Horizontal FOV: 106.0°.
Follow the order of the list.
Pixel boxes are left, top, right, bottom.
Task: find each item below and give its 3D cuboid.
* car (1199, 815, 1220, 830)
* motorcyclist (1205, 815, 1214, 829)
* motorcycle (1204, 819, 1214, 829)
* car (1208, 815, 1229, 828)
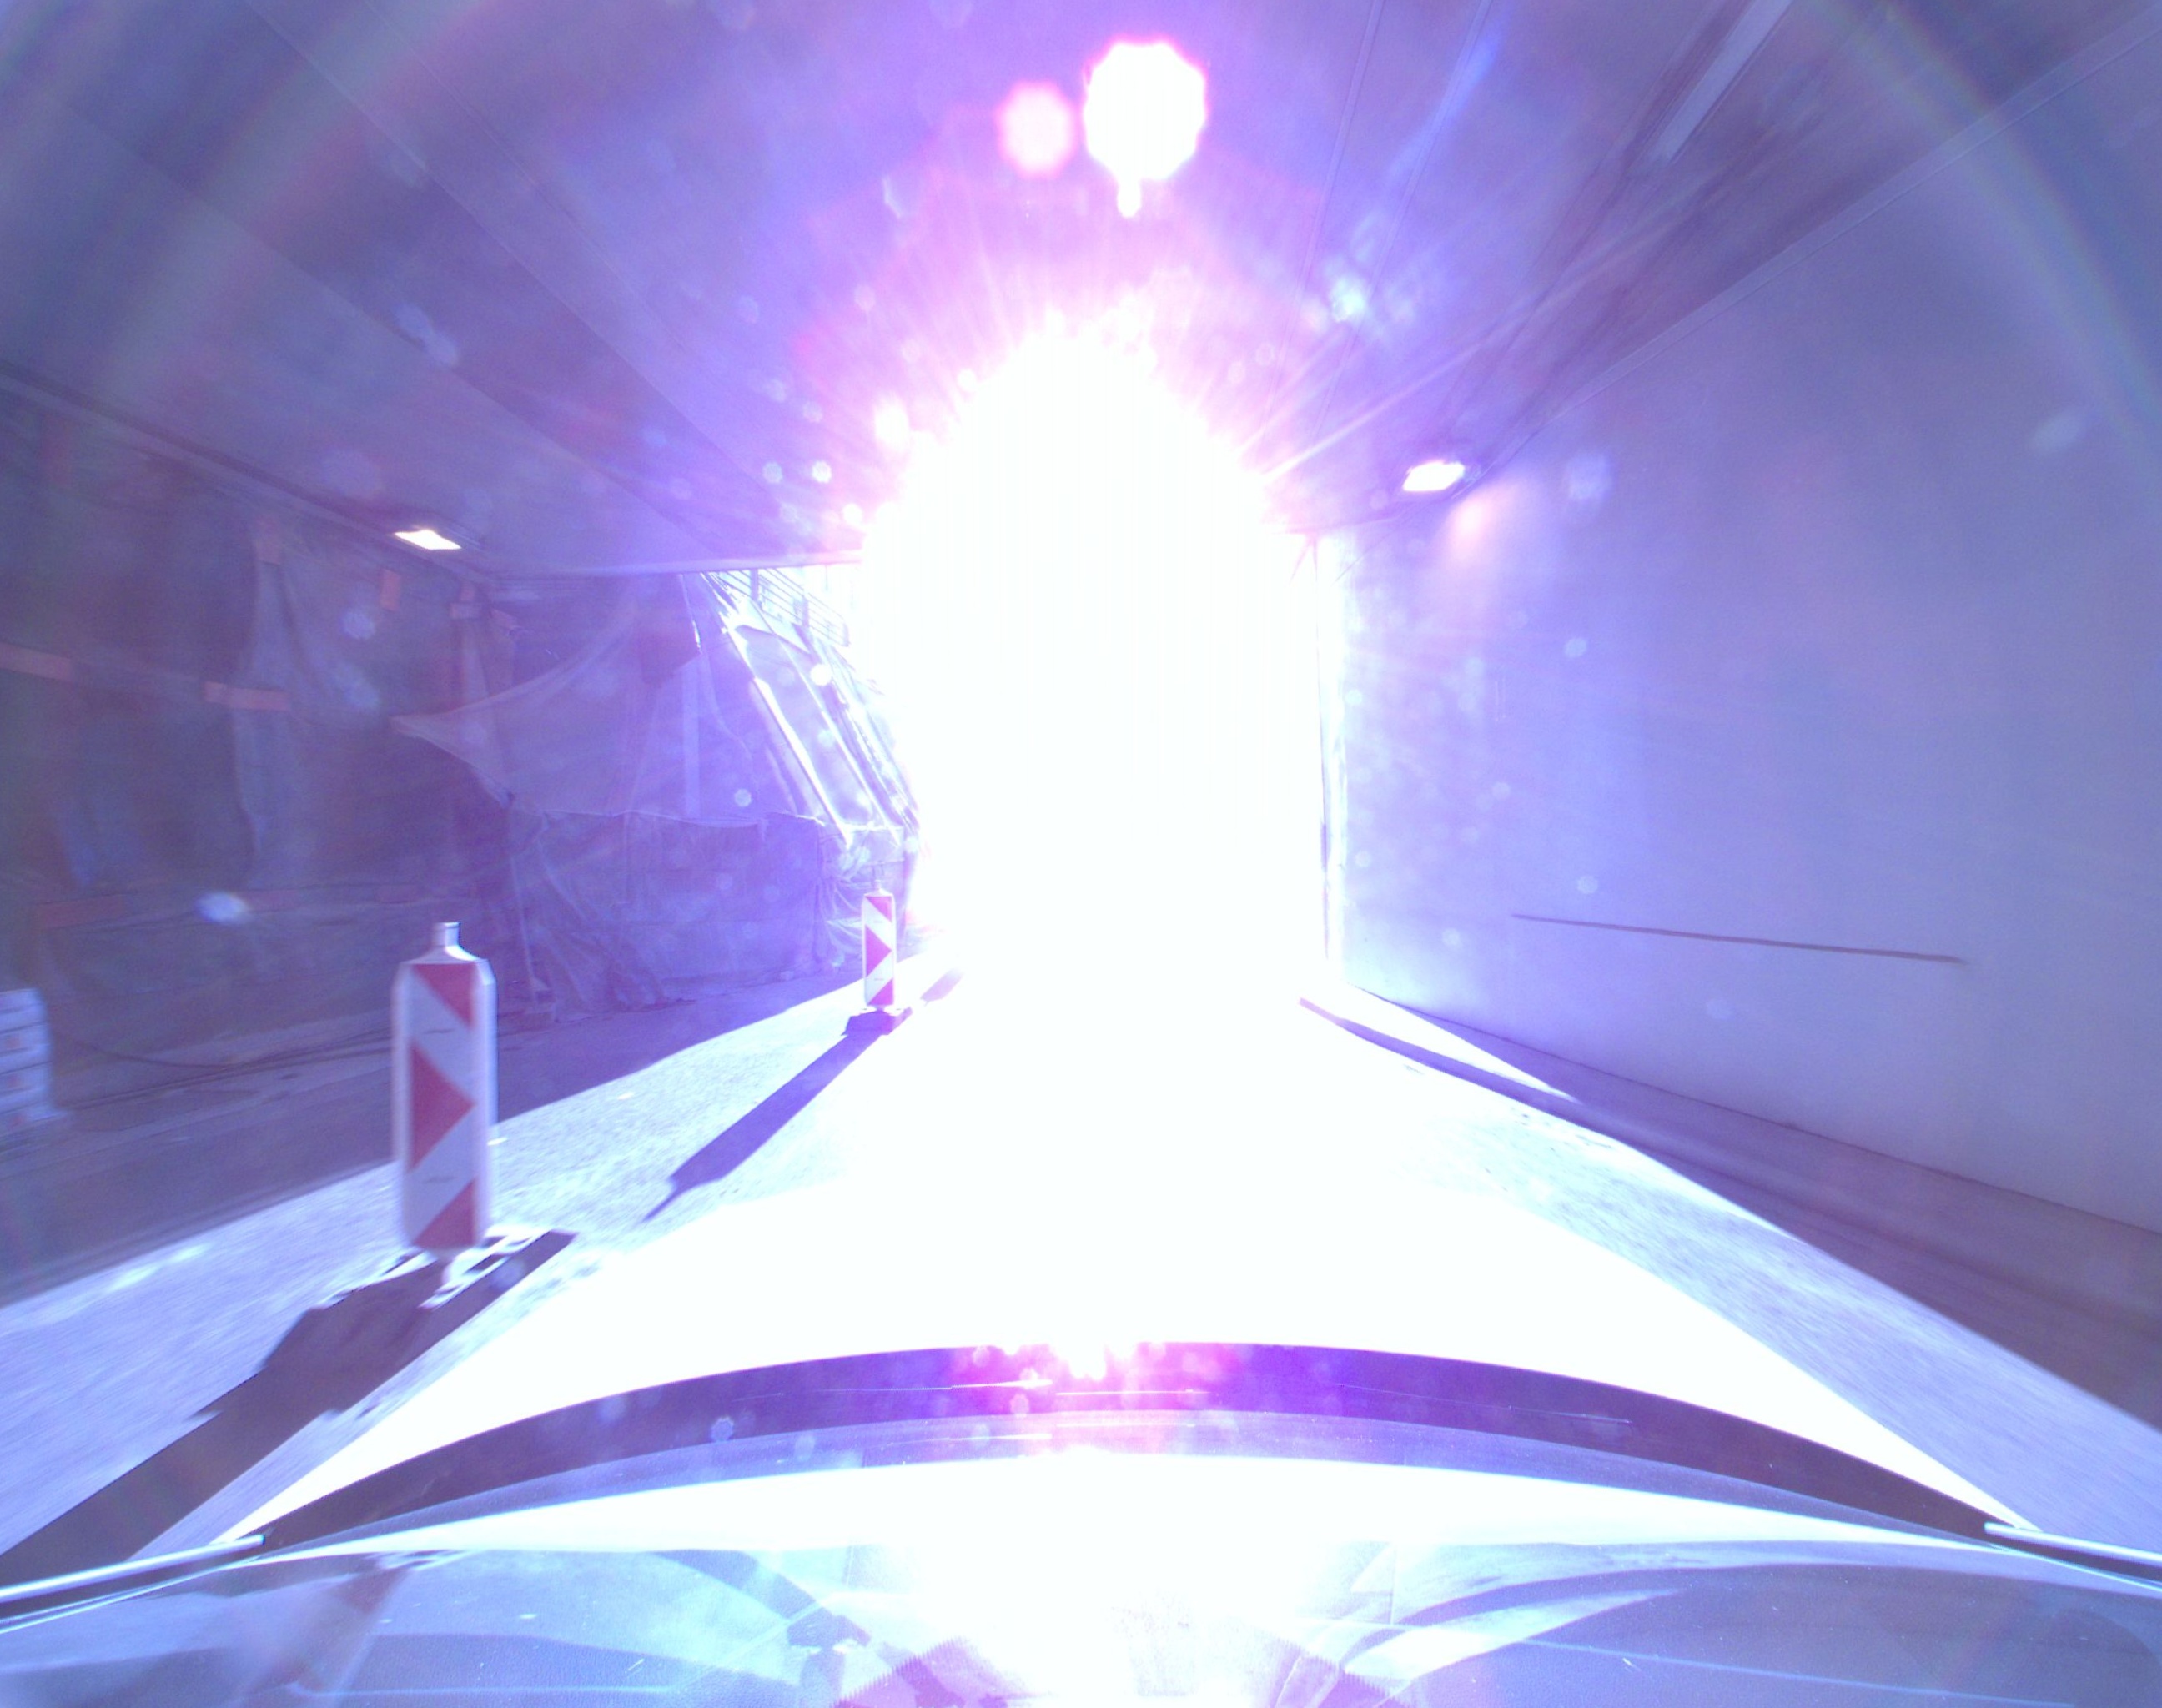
[{"bbox_3d":[15.159,-3.698,95.671,1.761,1.604,4.020,-1,2,19],"label":"car"},{"bbox_3d":[13.994,-3.513,88.769,0.798,1.504,0.780,-1,-1,17],"label":"motorcyclist"},{"bbox_3d":[14.016,-3.254,88.843,0.765,0.992,2.193,-1,-1,17],"label":"motorcycle"},{"bbox_3d":[17.189,-4.089,101.737,1.805,1.533,4.021,-1,2,20],"label":"car"}]
